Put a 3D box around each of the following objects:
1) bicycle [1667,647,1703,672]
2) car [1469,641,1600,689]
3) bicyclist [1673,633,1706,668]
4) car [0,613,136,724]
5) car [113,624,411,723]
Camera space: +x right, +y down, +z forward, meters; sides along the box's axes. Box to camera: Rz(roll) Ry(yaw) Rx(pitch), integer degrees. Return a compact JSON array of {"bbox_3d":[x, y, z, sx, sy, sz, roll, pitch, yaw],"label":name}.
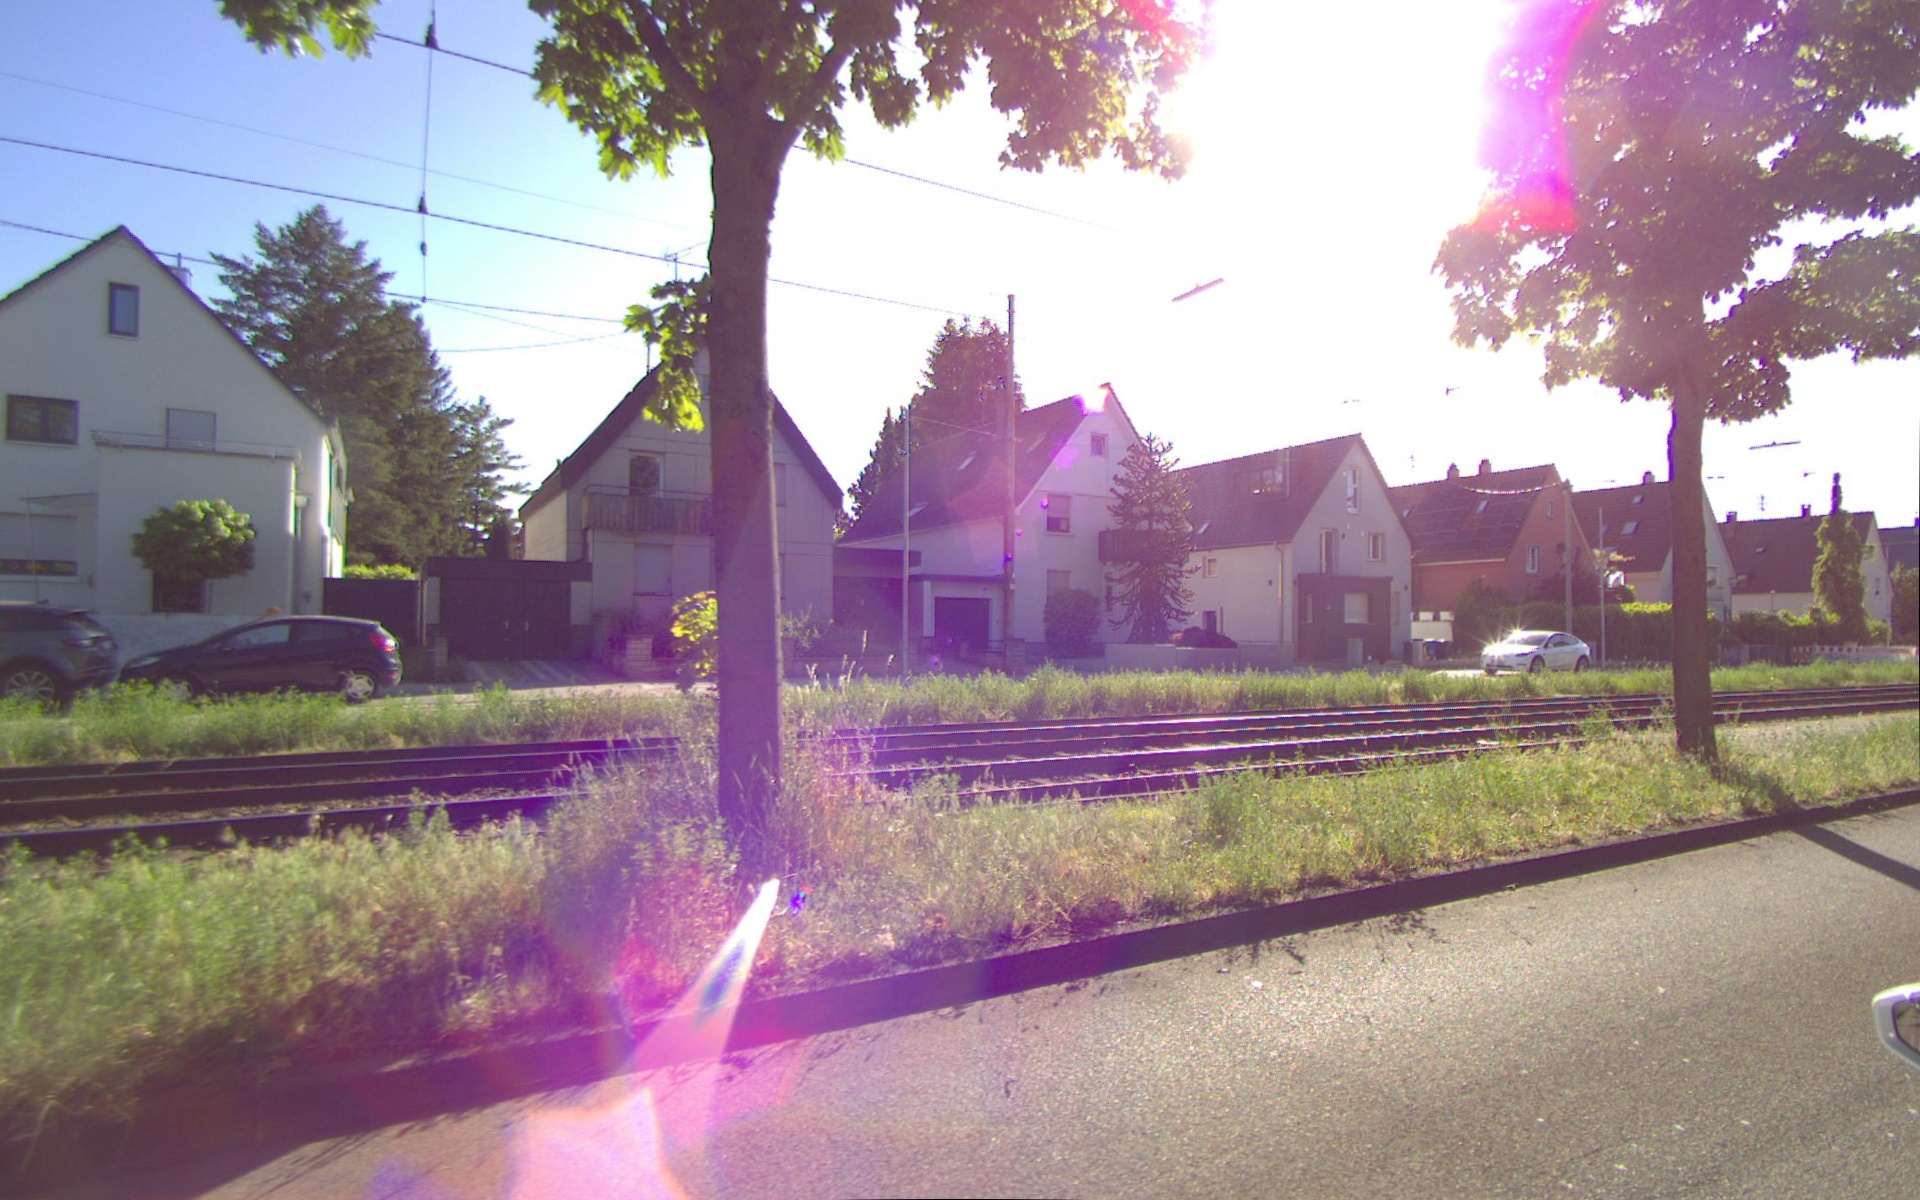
[{"bbox_3d":[27.345,2.230,37.889,2.040,0.913,0.438,2,-1,-35],"label":"bicycle"},{"bbox_3d":[21.283,2.394,37.193,4.670,1.620,1.986,2,-1,-27],"label":"car"},{"bbox_3d":[27.609,1.918,38.007,0.729,1.295,0.793,2,-1,-35],"label":"bicyclist"},{"bbox_3d":[-15.190,0.988,14.869,4.333,1.589,1.637,2,-1,-29],"label":"car"},{"bbox_3d":[-11.555,1.190,16.979,3.942,1.470,1.606,2,-1,-30],"label":"car"}]
